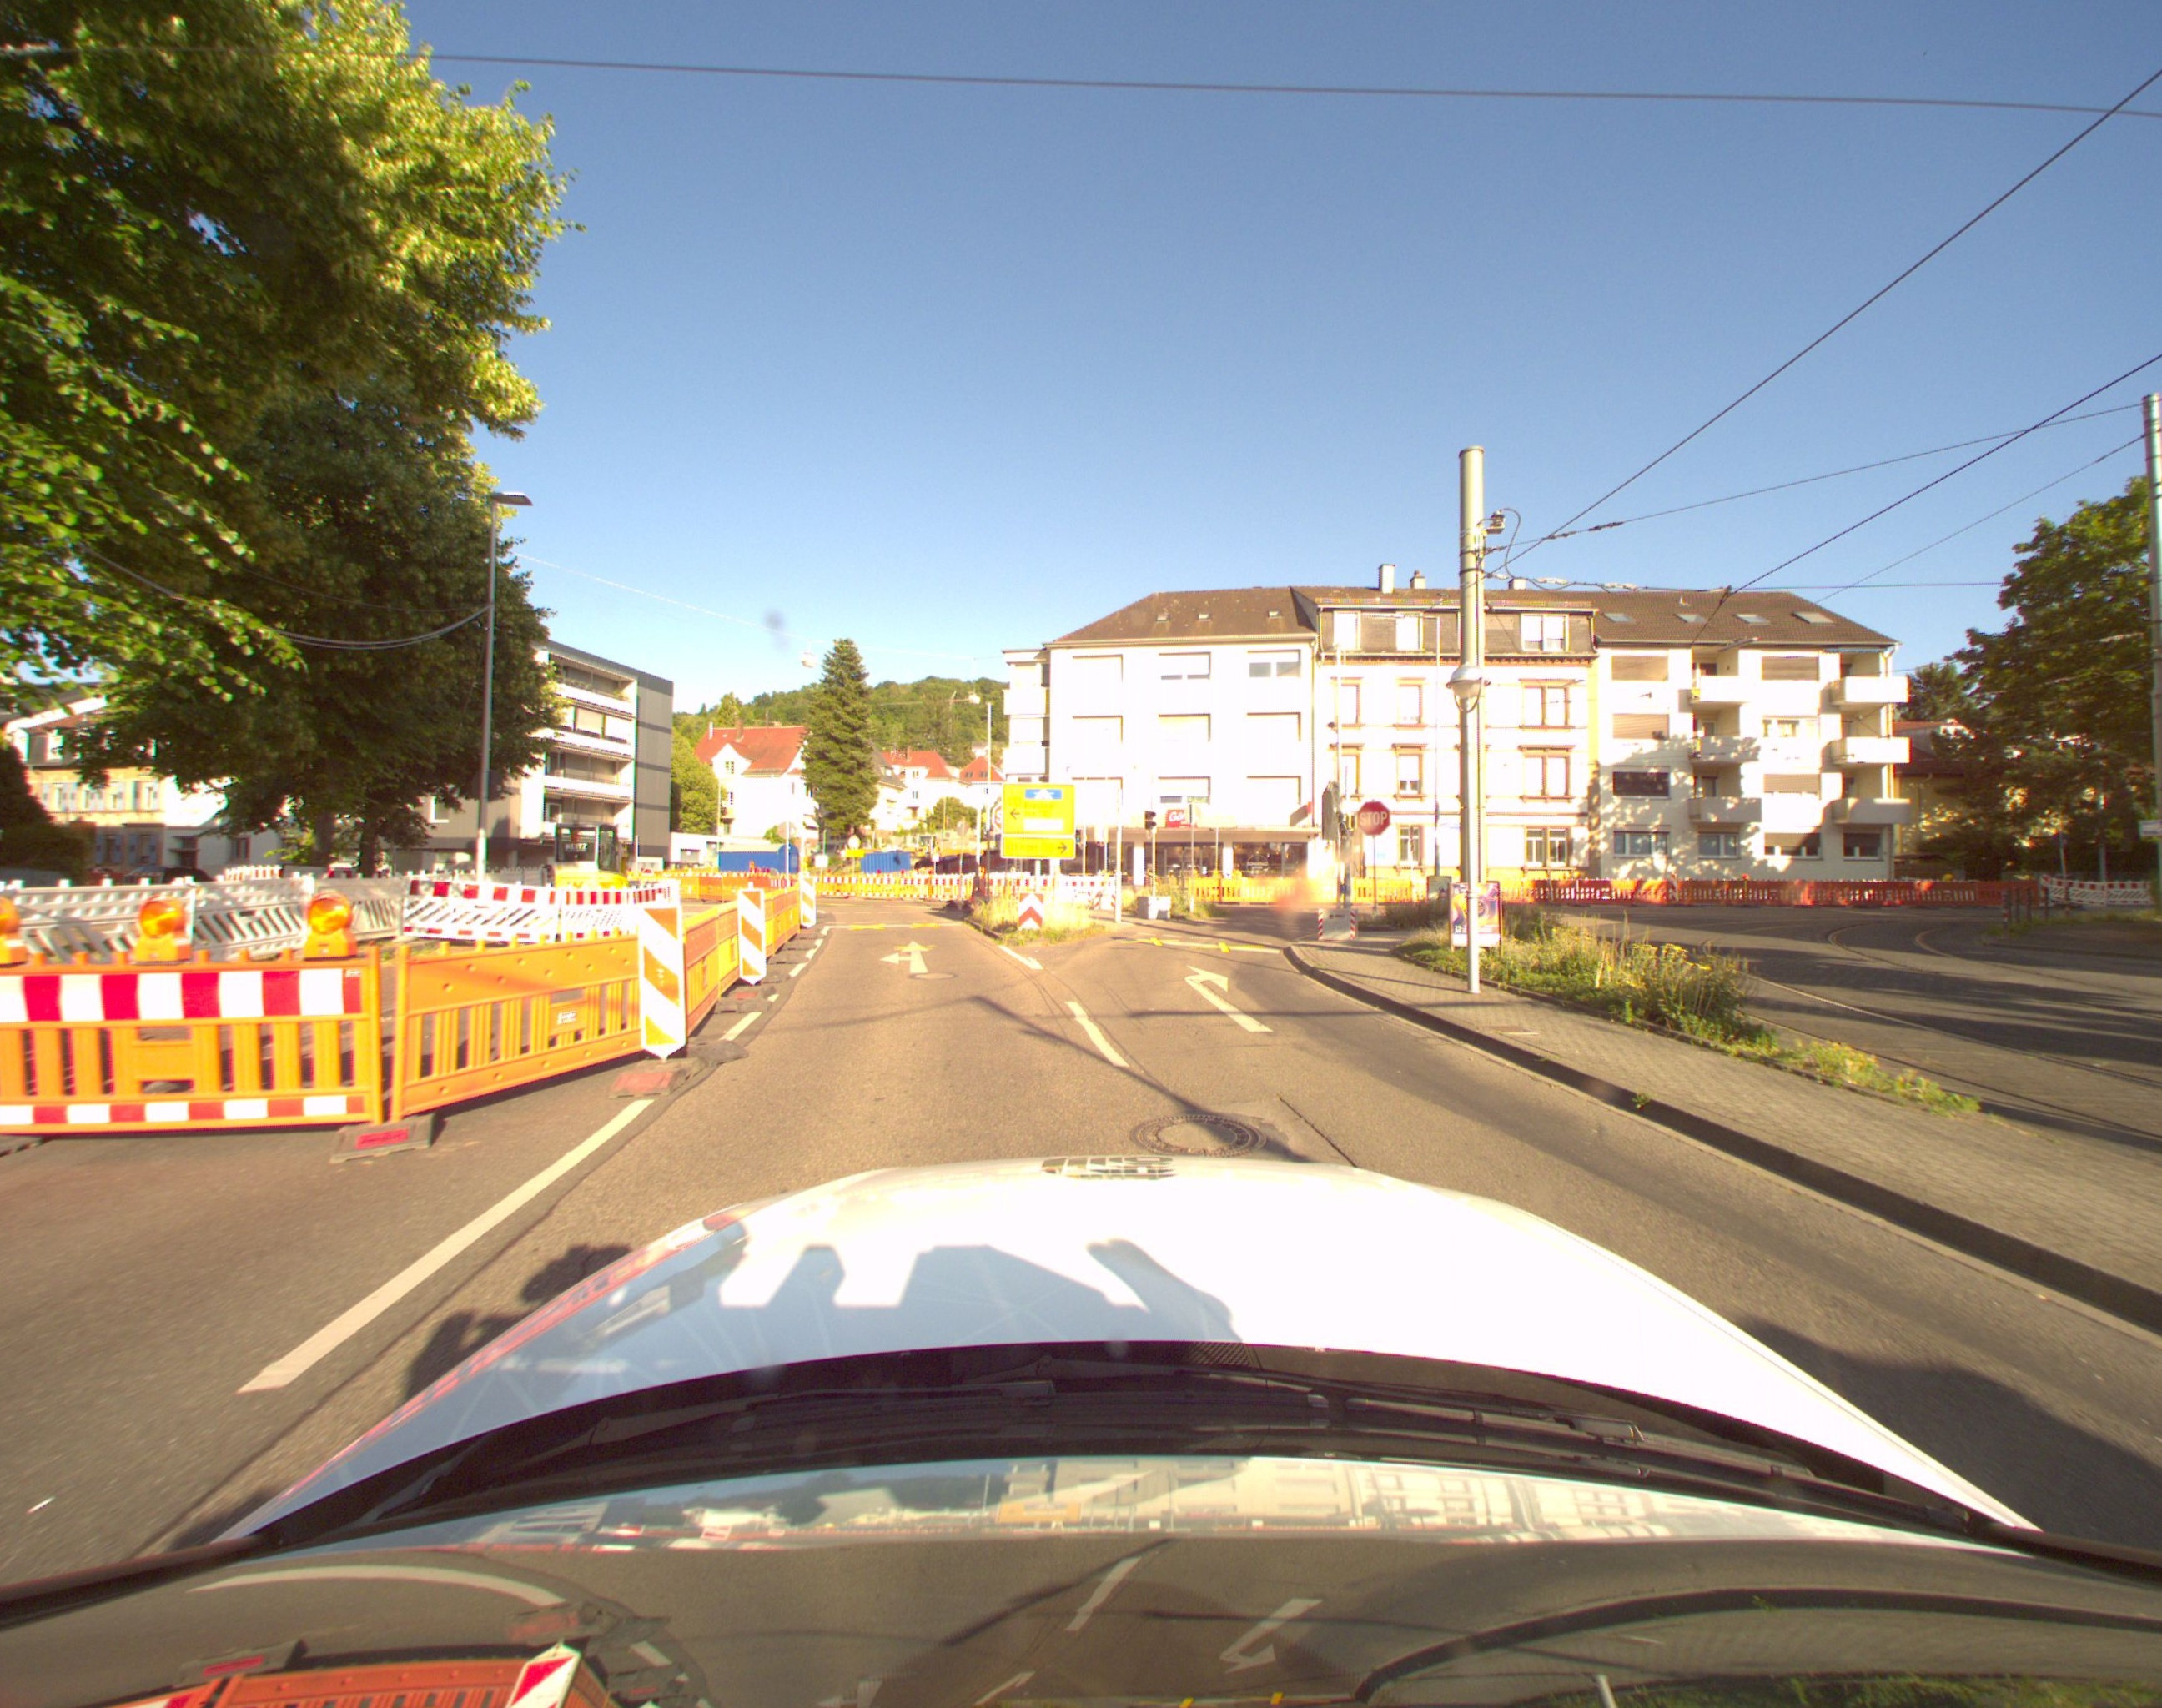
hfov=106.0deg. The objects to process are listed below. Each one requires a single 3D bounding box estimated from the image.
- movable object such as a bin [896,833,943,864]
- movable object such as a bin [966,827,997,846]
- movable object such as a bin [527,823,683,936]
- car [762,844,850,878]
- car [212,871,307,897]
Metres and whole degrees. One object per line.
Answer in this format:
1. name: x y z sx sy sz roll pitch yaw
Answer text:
1. movable object such as a bin: -13.478 -0.423 68.277 1.933 2.494 4.571 -1 -1 17
2. movable object such as a bin: -12.665 -2.175 104.267 2.551 2.122 5.796 -1 -1 7
3. movable object such as a bin: -10.834 0.551 18.870 1.645 2.325 3.911 0 -1 -7
4. car: -18.515 0.513 55.301 2.563 2.121 6.177 -1 -1 17
5. car: -46.072 1.656 45.752 1.495 1.411 3.430 0 -1 19
